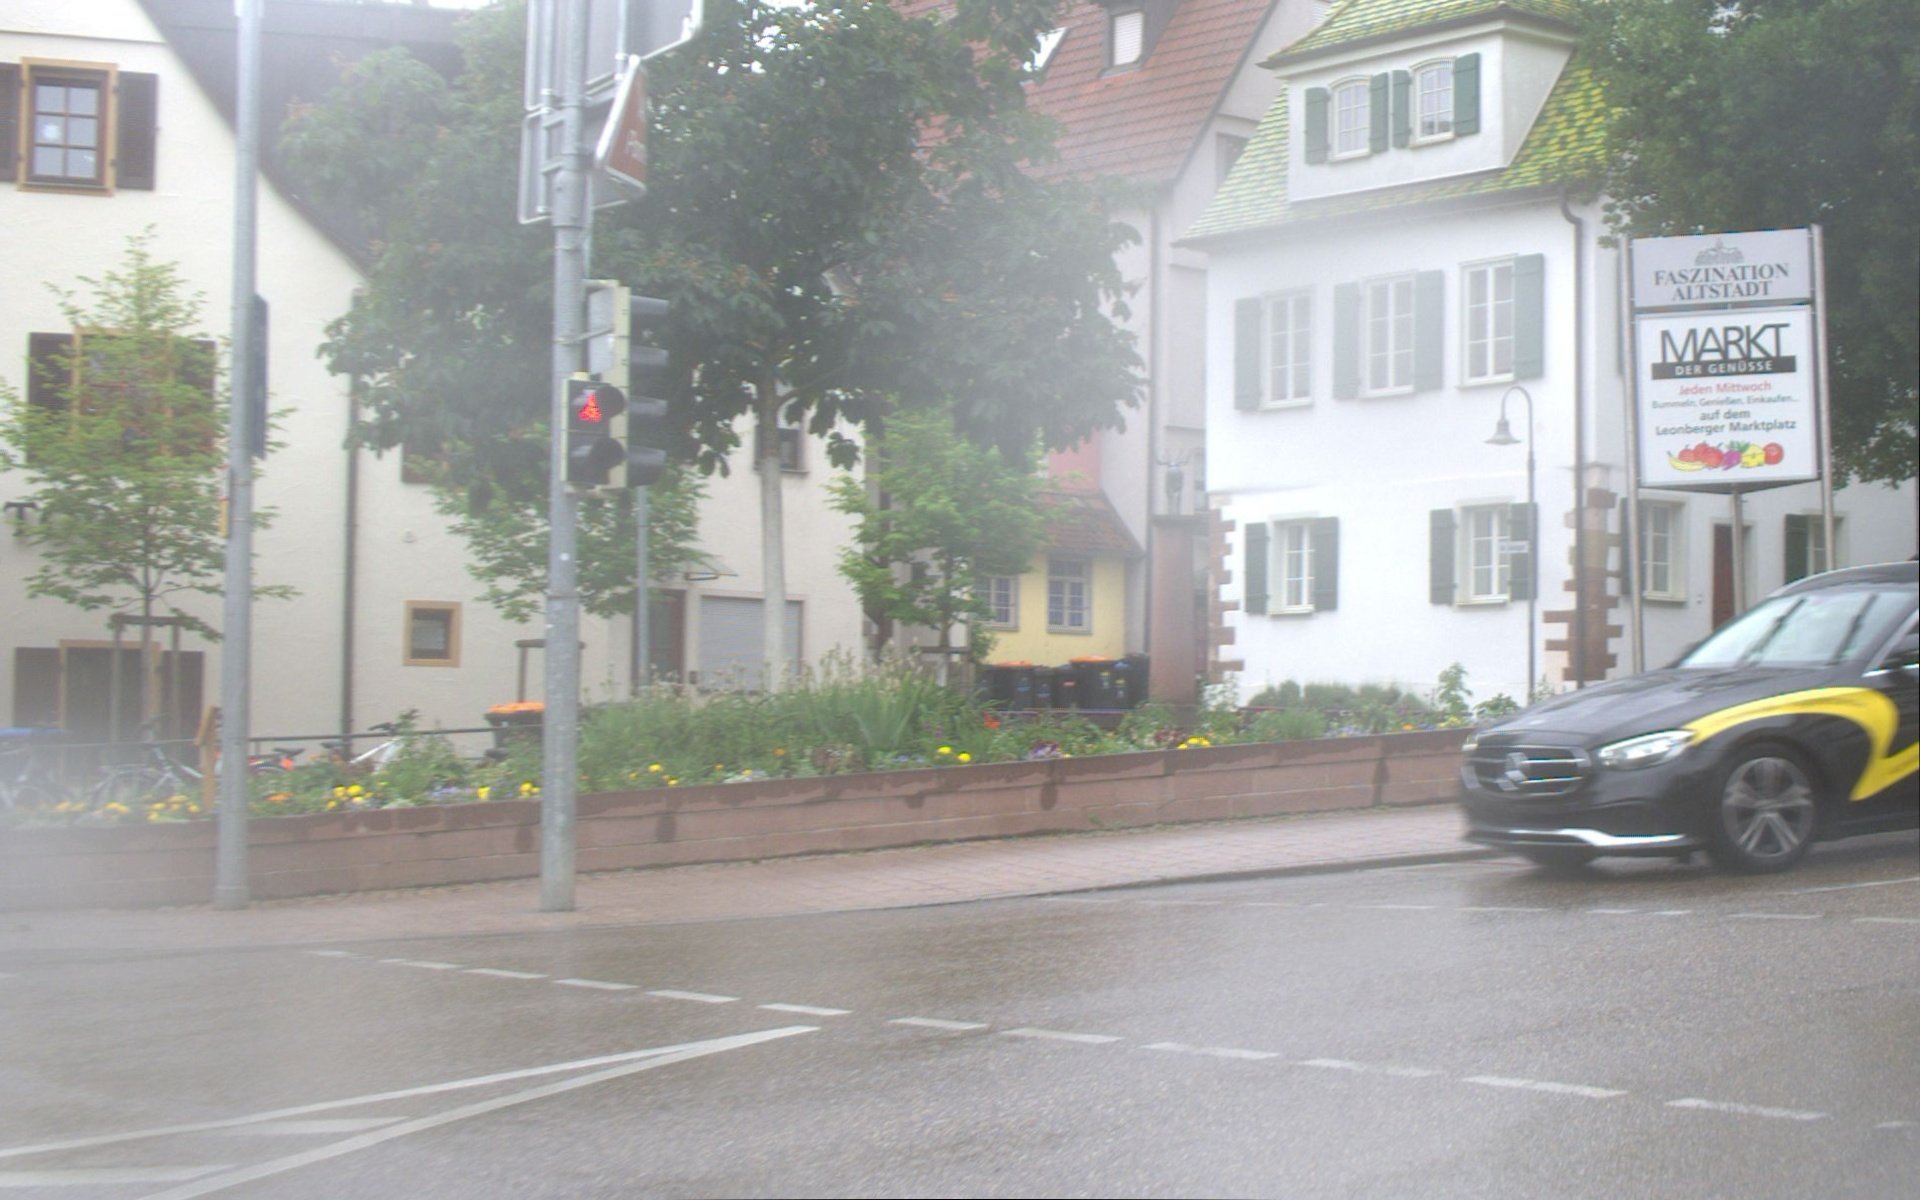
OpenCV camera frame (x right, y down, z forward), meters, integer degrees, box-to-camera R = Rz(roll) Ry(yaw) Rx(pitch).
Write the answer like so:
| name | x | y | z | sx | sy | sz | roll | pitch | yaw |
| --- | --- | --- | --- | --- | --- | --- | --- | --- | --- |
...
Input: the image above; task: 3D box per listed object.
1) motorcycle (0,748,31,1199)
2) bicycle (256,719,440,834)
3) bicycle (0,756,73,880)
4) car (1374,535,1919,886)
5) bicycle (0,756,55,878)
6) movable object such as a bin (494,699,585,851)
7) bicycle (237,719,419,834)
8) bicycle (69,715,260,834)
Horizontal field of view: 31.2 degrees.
| name | x | y | z | sx | sy | sz | roll | pitch | yaw |
| --- | --- | --- | --- | --- | --- | --- | --- | --- | --- |
| motorcycle | -3.197 | 0.937 | 8.083 | 0.770 | 1.127 | 1.913 | -1 | -1 | 34 |
| bicycle | -5.083 | 1.460 | 28.598 | 1.465 | 0.909 | 0.392 | 1 | 1 | -38 |
| bicycle | -7.525 | 1.680 | 26.296 | 0.392 | 0.909 | 1.466 | 2 | 1 | 40 |
| car | 4.549 | 0.460 | 17.576 | 4.398 | 1.533 | 2.000 | -2 | 1 | -26 |
| bicycle | -7.773 | 1.700 | 26.705 | 0.392 | 0.909 | 1.466 | 2 | 1 | 40 |
| movable object such as a bin | -3.678 | 1.522 | 30.016 | 0.683 | 1.272 | 0.748 | 2 | -1 | -12 |
| bicycle | -5.314 | 1.477 | 28.954 | 1.465 | 0.909 | 0.392 | 1 | 1 | -38 |
| bicycle | -6.454 | 1.407 | 27.930 | 1.465 | 0.909 | 0.392 | 1 | 1 | -38 |
